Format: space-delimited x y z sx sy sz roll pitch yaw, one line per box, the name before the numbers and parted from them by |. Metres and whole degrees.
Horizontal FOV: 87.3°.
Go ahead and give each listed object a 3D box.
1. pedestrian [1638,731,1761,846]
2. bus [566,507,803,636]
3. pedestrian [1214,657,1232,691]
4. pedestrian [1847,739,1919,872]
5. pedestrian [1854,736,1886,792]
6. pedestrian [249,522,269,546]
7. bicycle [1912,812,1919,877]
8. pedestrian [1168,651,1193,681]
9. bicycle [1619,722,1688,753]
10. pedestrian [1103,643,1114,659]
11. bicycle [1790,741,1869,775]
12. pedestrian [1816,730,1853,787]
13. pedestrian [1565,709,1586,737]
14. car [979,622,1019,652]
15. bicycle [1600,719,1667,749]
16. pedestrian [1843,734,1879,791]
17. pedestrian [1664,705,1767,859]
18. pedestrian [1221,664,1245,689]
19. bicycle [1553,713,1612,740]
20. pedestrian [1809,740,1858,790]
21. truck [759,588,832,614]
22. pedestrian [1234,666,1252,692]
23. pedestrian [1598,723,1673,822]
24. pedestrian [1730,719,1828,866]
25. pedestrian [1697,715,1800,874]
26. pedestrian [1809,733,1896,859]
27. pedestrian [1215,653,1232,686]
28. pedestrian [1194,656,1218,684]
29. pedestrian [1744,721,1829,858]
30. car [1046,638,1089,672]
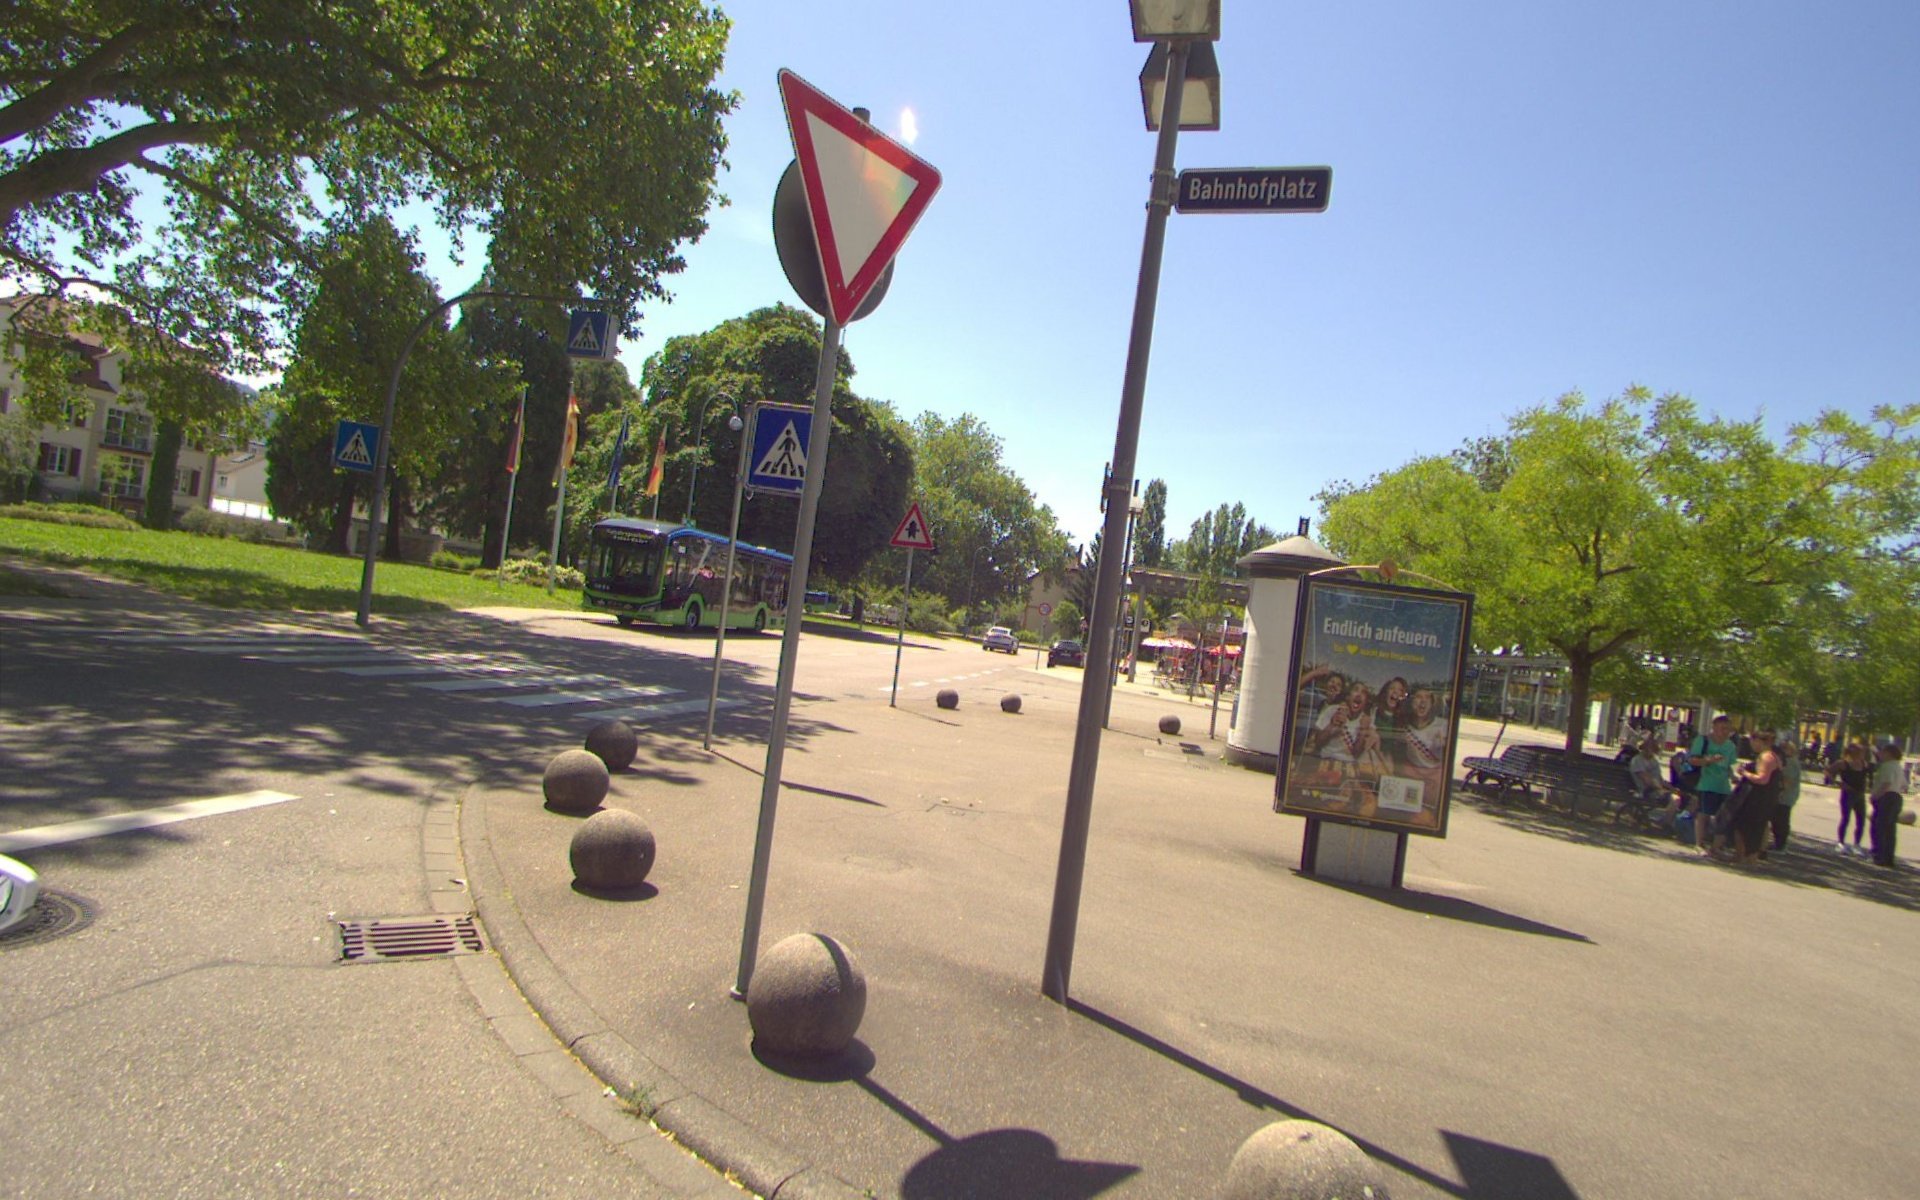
pedestrian | 10.569 2.678 14.403 0.900 1.402 0.940 8 0 -20
bus | -9.021 -0.623 35.467 2.764 3.321 12.436 8 -1 9
pedestrian | 14.575 4.107 55.779 0.675 1.757 0.708 9 -2 10
pedestrian | 13.175 2.884 14.185 0.608 1.705 0.591 8 0 -3
pedestrian | 31.442 5.659 34.776 0.542 1.831 0.497 8 0 30
pedestrian | -44.233 -4.173 63.509 0.819 1.386 0.613 10 -1 -31
bicycle | 13.023 3.171 12.614 0.413 1.072 1.951 8 -1 8
pedestrian | 11.601 3.484 52.848 0.885 1.435 0.683 8 0 -28
bicycle | 35.473 7.016 51.486 2.743 1.015 0.812 10 -1 8
pedestrian | 16.650 5.702 112.775 0.711 1.667 0.749 8 -2 38
bicycle | 42.358 7.694 49.034 2.743 1.015 0.968 10 -1 8
pedestrian | 30.306 5.470 34.887 0.679 1.831 0.630 8 0 31
pedestrian | 32.825 6.561 53.677 0.615 1.411 0.677 6 -1 9
car | 2.678 2.478 67.238 1.951 1.646 4.782 8 -1 9
bicycle | 35.394 7.043 52.867 2.743 1.015 0.812 10 -1 8
pedestrian | 30.820 5.539 34.418 0.621 1.831 0.595 8 0 30
pedestrian | 9.524 2.284 12.692 0.684 1.785 0.583 8 0 -19
pedestrian | 14.623 4.080 53.836 0.884 1.175 0.684 8 0 -25
bicycle | 36.309 7.390 58.695 2.743 1.015 0.812 10 -1 8
pedestrian | 32.159 6.051 37.048 0.908 1.609 0.857 8 0 8
truck | -23.990 0.102 146.410 11.169 2.377 2.283 7 -1 28
pedestrian | 14.043 3.916 49.980 0.675 1.175 0.895 8 0 14
pedestrian | 10.485 2.668 15.625 0.591 1.381 0.597 7 0 -19
pedestrian | 10.662 2.499 13.116 0.576 1.760 0.598 8 0 -16
pedestrian | 9.444 2.315 12.060 0.618 1.760 0.546 8 0 -16
pedestrian | 13.202 2.890 14.899 0.545 1.705 0.587 8 0 -3
pedestrian | 15.010 3.939 57.280 0.675 1.758 0.708 8 0 10
pedestrian | 13.252 3.758 54.177 0.884 1.328 0.684 8 0 -25
pedestrian | 11.478 2.618 13.980 0.505 1.760 0.568 8 0 -20
car | 5.568 2.798 51.837 1.896 1.478 4.730 5 -2 9
